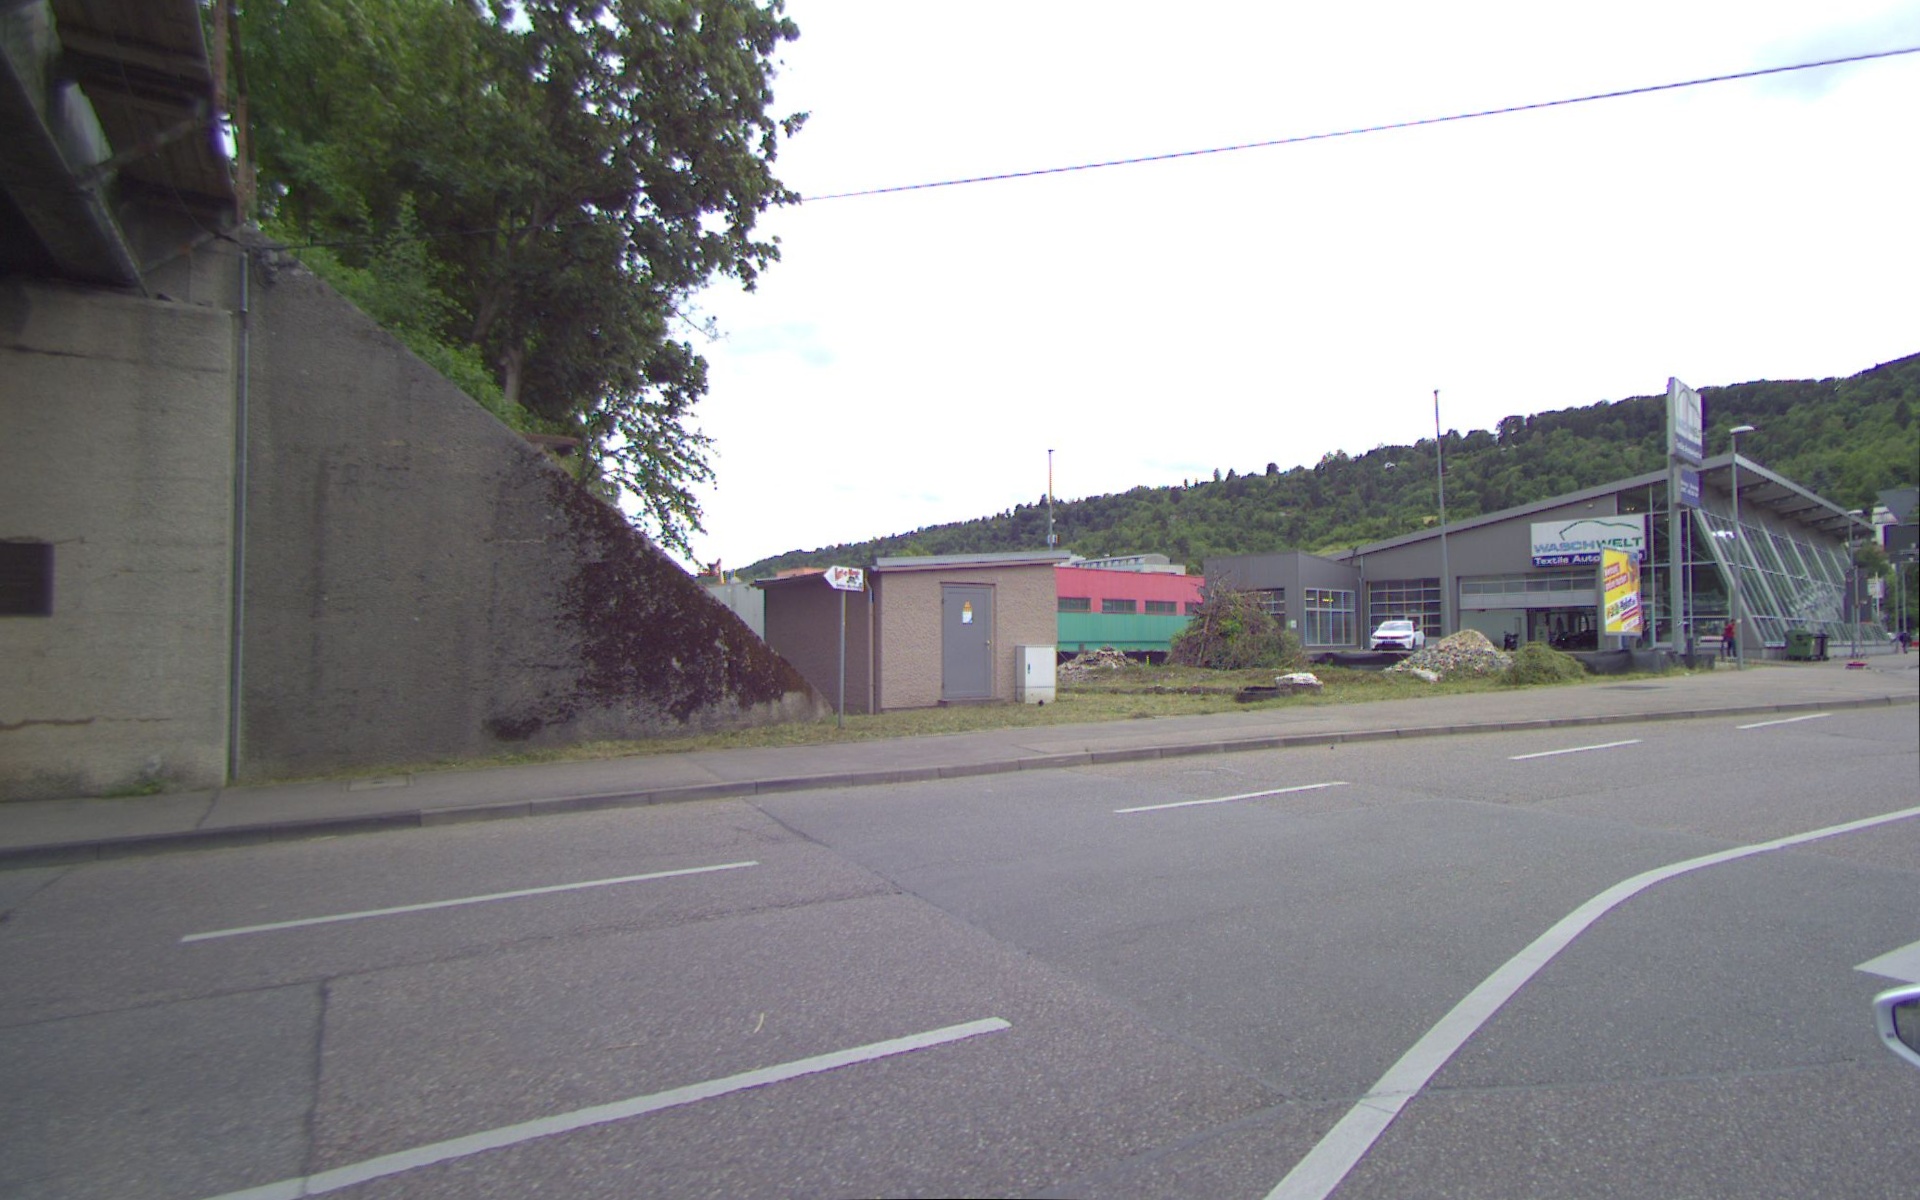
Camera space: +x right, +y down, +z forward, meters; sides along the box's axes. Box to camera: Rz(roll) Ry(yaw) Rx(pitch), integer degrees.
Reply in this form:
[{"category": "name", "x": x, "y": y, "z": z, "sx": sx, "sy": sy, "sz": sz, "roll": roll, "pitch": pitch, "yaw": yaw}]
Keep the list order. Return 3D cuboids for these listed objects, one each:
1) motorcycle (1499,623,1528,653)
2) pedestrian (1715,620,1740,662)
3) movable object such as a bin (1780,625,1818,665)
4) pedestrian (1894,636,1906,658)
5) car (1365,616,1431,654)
[{"category": "motorcycle", "x": 32.937, "y": 2.268, "z": 59.774, "sx": 2.348, "sy": 1.732, "sz": 0.832, "roll": 2, "pitch": -3, "yaw": -44}, {"category": "pedestrian", "x": 34.868, "y": 1.863, "z": 45.637, "sx": 0.815, "sy": 1.892, "sz": 0.716, "roll": -3, "pitch": -3, "yaw": 37}, {"category": "movable object such as a bin", "x": 38.234, "y": 2.059, "z": 45.777, "sx": 1.050, "sy": 1.780, "sz": 1.133, "roll": 3, "pitch": -4, "yaw": -39}, {"category": "pedestrian", "x": 72.219, "y": 3.613, "z": 77.203, "sx": 0.621, "sy": 1.694, "sz": 0.754, "roll": -2, "pitch": -4, "yaw": 45}, {"category": "car", "x": 19.061, "y": 1.539, "z": 43.651, "sx": 1.967, "sy": 1.555, "sz": 3.989, "roll": -1, "pitch": -3, "yaw": 34}]
